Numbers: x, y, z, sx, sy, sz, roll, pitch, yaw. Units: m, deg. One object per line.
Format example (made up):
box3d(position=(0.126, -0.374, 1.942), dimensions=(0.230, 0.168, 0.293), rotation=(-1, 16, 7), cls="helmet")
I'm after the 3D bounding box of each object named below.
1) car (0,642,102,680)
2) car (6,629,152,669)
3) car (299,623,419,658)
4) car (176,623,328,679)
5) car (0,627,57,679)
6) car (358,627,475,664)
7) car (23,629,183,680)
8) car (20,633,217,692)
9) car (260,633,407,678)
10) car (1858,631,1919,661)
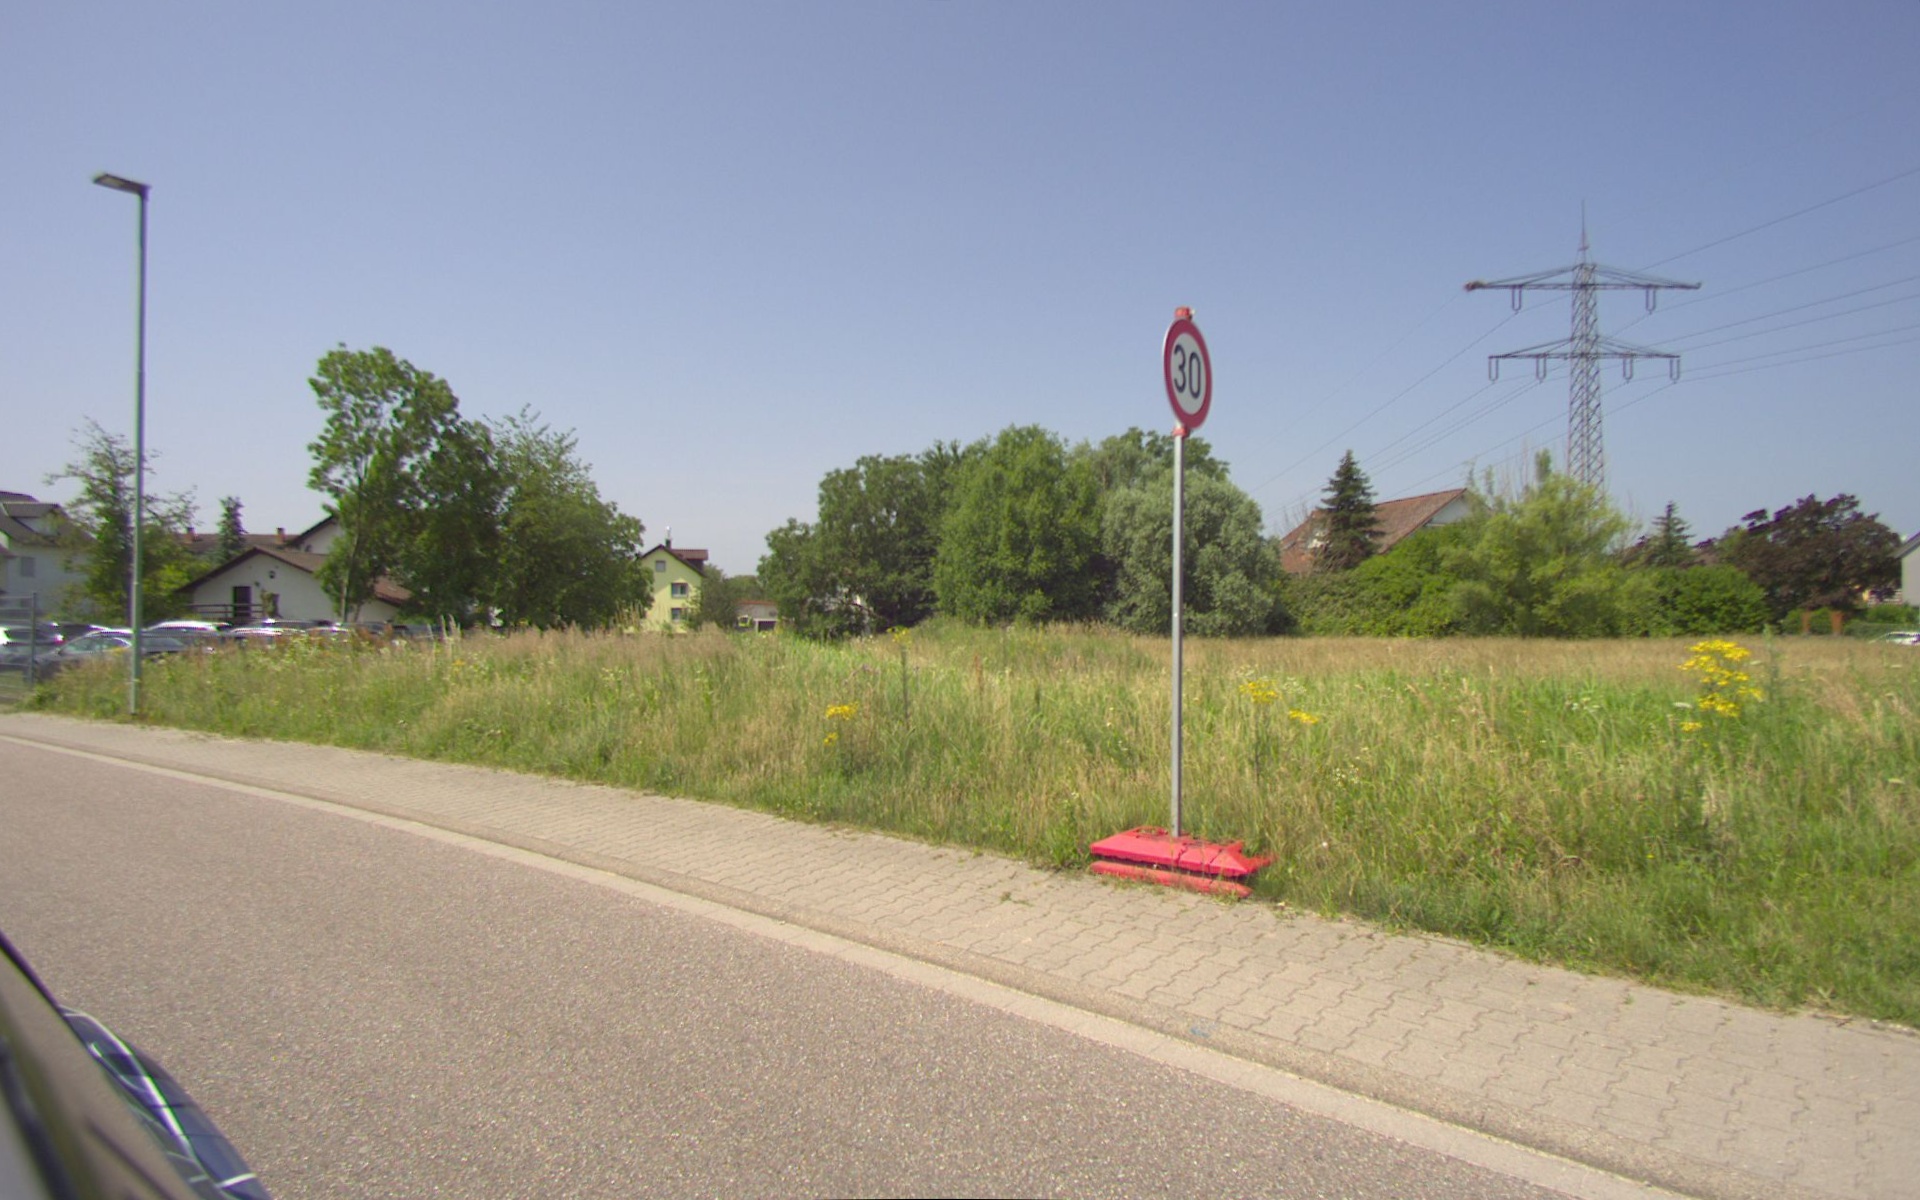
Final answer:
box3d(position=(-32.297, 2.103, 35.149), dimensions=(3.592, 1.256, 1.583), rotation=(0, -1, -4), cls="car")
box3d(position=(-34.813, 1.919, 40.087), dimensions=(3.940, 1.510, 2.002), rotation=(0, -2, -4), cls="car")
box3d(position=(-23.754, 1.583, 40.087), dimensions=(3.690, 1.326, 1.822), rotation=(0, -1, -3), cls="car")
box3d(position=(-21.084, 1.514, 30.244), dimensions=(3.410, 1.596, 1.583), rotation=(0, -1, -4), cls="car")
box3d(position=(-29.423, 1.565, 30.132), dimensions=(3.592, 1.501, 1.583), rotation=(0, -1, -4), cls="car")
box3d(position=(-23.220, 1.938, 43.330), dimensions=(3.940, 1.510, 2.002), rotation=(0, -2, -4), cls="car")
box3d(position=(-25.733, 1.617, 30.471), dimensions=(3.410, 1.430, 1.583), rotation=(0, -1, -4), cls="car")
box3d(position=(-20.522, 1.499, 24.701), dimensions=(4.366, 1.344, 1.573), rotation=(-1, -1, 17), cls="car")
box3d(position=(-22.049, 1.922, 35.736), dimensions=(3.940, 1.510, 2.002), rotation=(0, -2, -4), cls="car")
box3d(position=(56.786, 2.732, 60.851), dimensions=(1.972, 1.623, 4.000), rotation=(0, -1, 0), cls="car")
